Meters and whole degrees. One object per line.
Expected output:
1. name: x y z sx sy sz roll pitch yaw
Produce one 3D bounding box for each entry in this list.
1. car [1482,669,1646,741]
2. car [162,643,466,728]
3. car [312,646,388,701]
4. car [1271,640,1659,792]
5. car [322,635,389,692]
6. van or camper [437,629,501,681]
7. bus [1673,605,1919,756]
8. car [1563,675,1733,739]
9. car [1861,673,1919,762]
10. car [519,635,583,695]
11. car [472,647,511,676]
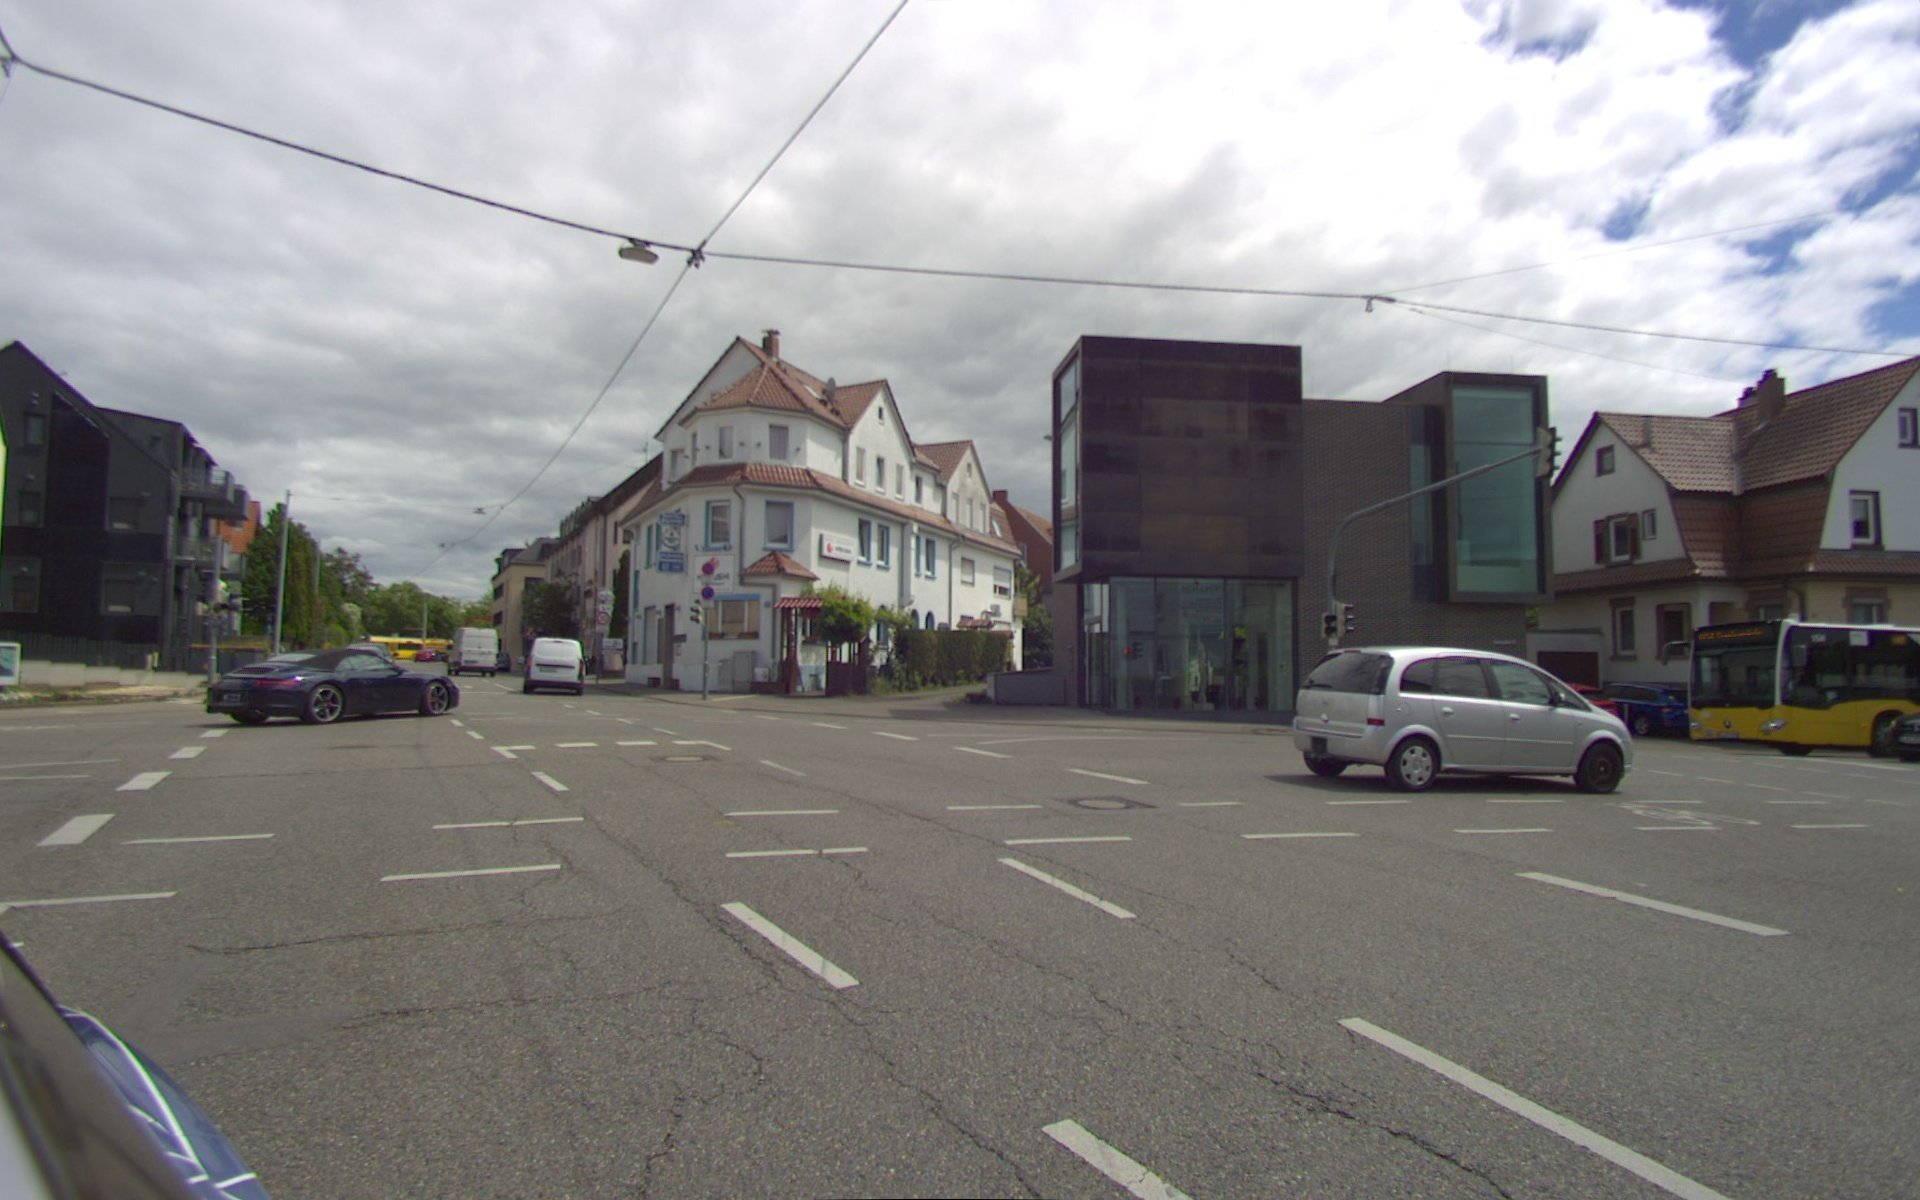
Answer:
1. car: 17.706 3.037 29.912 1.968 1.652 4.008 2 0 -9
2. car: -11.286 1.469 18.094 1.983 1.292 4.278 0 -3 18
3. car: -20.067 2.381 33.421 1.966 1.697 4.012 3 -4 -30
4. car: 5.924 1.328 12.007 3.933 1.587 1.780 2 -4 -16
5. car: -22.584 2.359 37.881 1.966 2.029 4.012 3 -4 -30
6. van or camper: -26.865 3.011 55.265 2.079 2.606 5.659 6 -6 -34
7. bus: 21.464 1.857 22.950 9.046 3.084 2.791 2 -3 -7
8. car: 20.589 3.175 30.497 1.968 1.697 4.008 2 -3 -9
9. car: 20.068 2.295 19.378 3.939 1.652 2.002 2 -3 -5
10. car: -13.643 2.210 33.770 1.790 1.826 4.432 3 -5 -22
11. car: -33.532 4.388 72.328 1.966 2.029 4.011 3 -4 -32
